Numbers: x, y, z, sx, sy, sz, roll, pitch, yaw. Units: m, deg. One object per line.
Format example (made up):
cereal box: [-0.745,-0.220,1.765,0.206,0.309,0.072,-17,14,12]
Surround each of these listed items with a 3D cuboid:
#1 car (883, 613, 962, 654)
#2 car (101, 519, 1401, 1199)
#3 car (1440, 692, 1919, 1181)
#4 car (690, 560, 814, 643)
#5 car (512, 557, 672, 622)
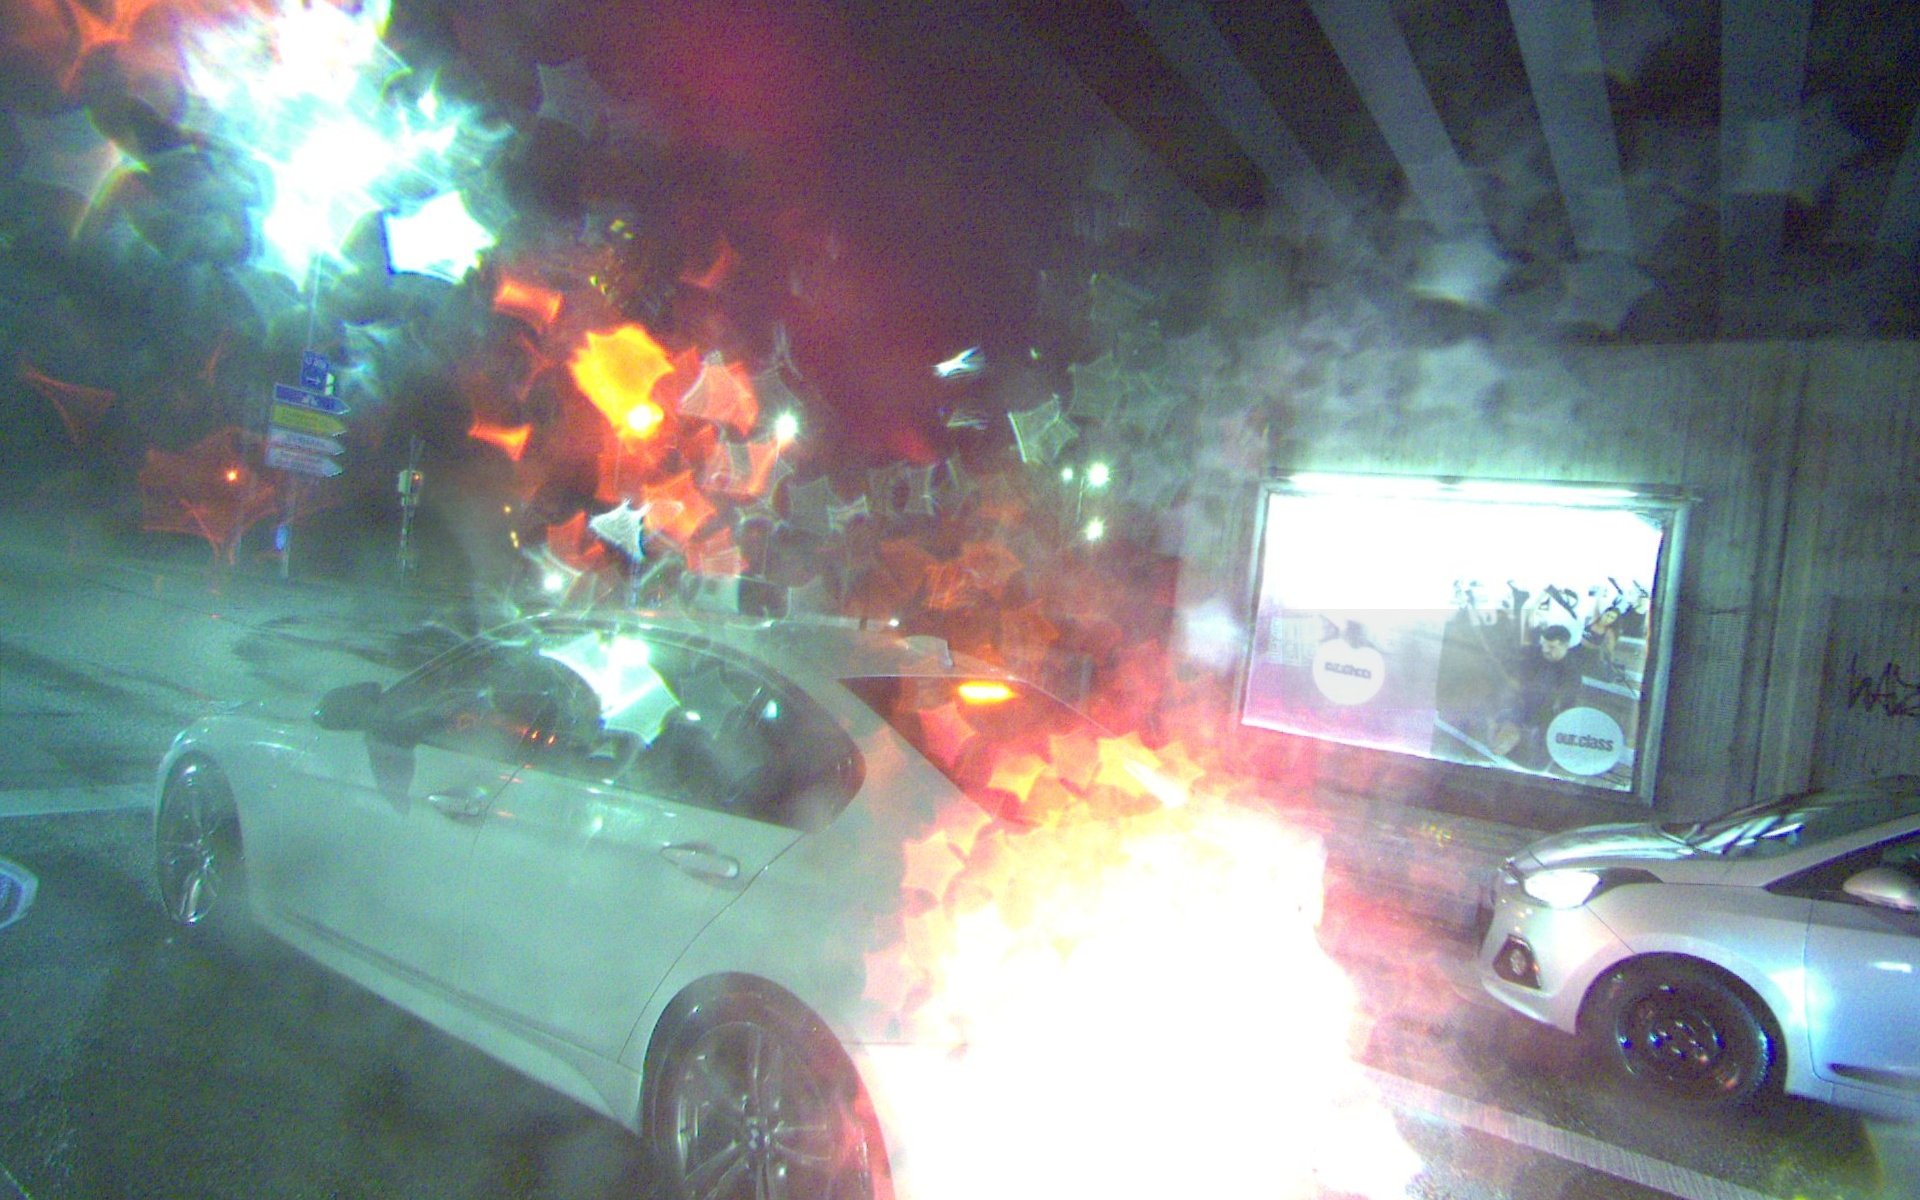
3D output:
car: [-2.031,1.896,55.660,1.954,1.775,4.341,6,-2,36]
car: [-0.966,0.668,3.510,4.309,1.465,1.722,6,0,31]
car: [4.300,1.398,3.979,4.092,1.465,1.722,6,0,31]
car: [-6.117,0.091,29.985,1.673,2.037,3.567,6,-2,24]
car: [-12.625,-0.305,34.761,1.826,1.609,4.850,6,-2,38]
